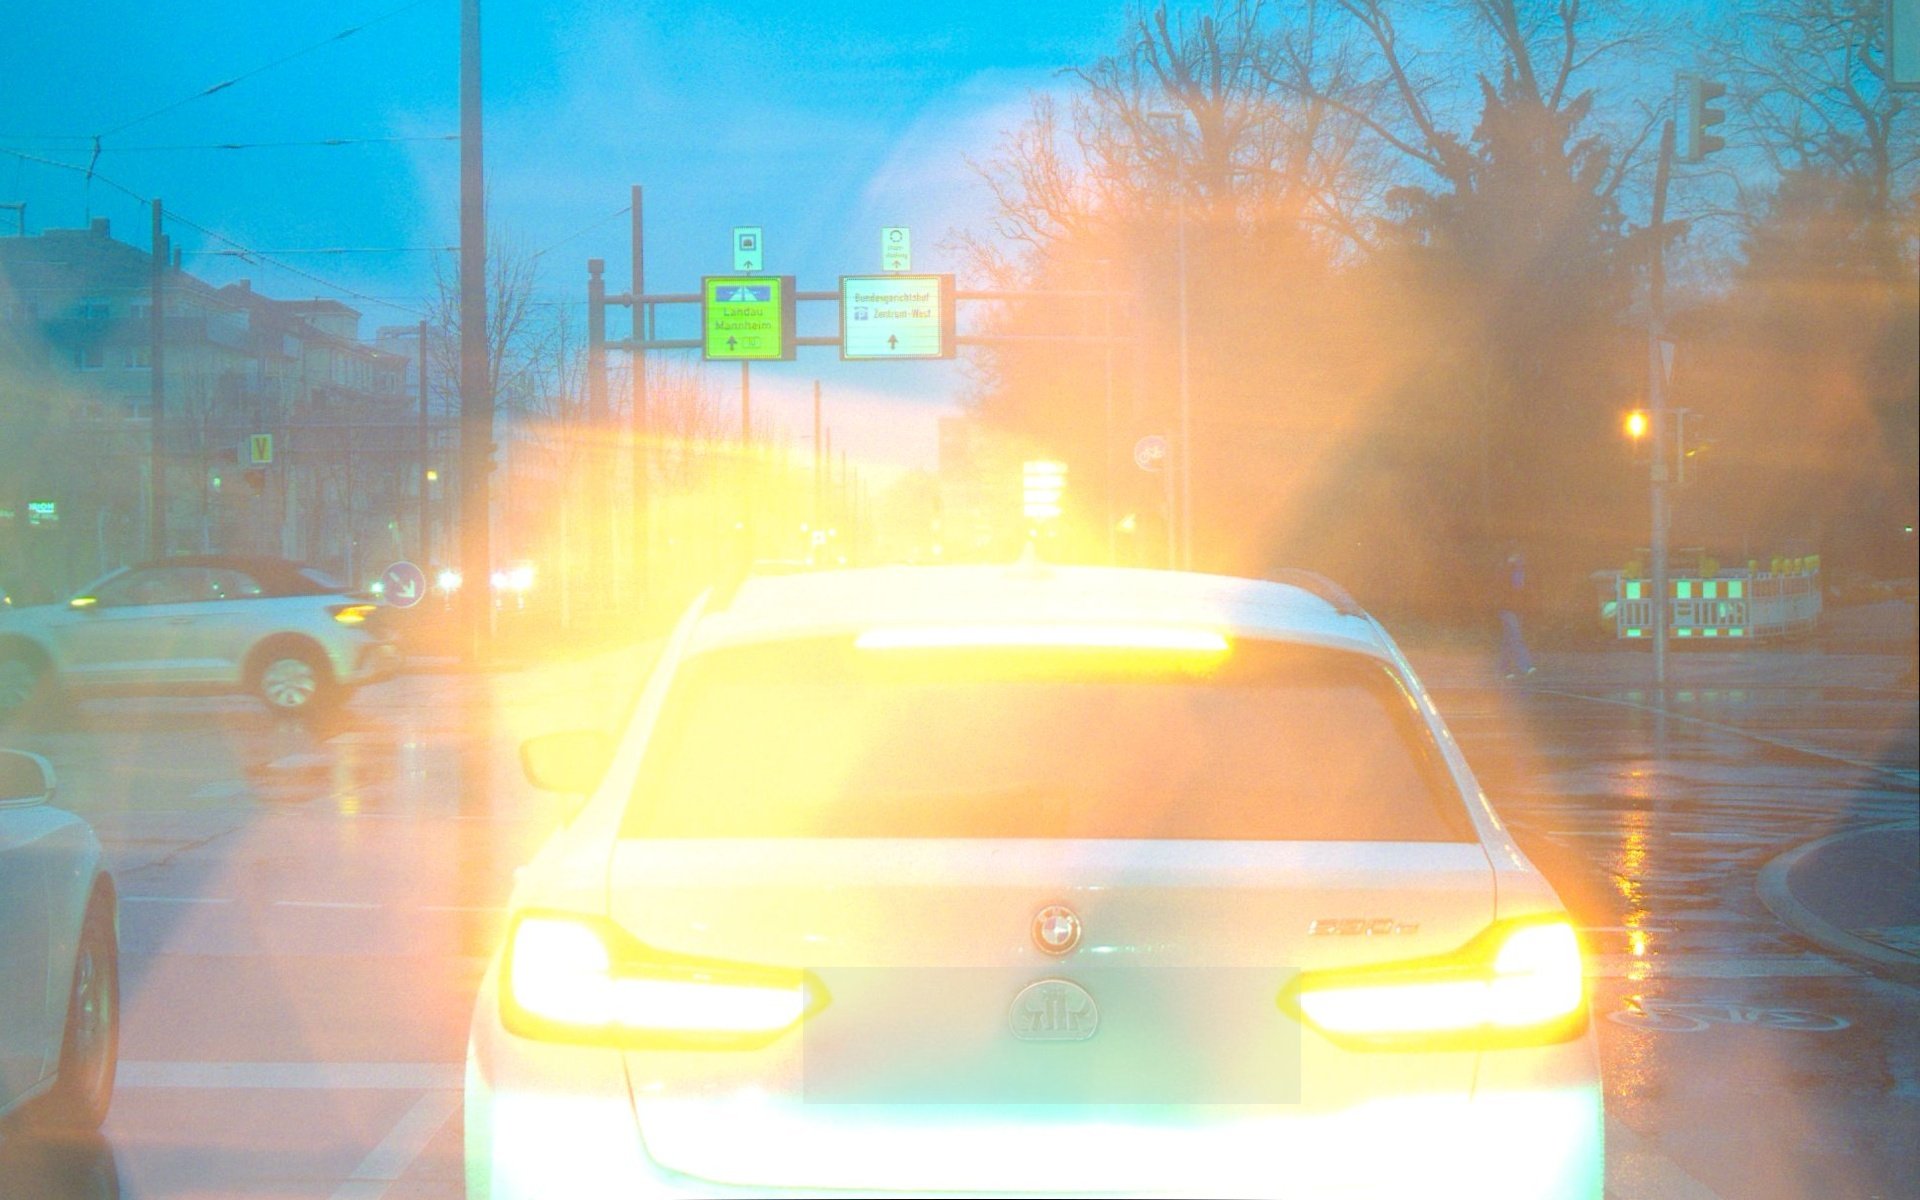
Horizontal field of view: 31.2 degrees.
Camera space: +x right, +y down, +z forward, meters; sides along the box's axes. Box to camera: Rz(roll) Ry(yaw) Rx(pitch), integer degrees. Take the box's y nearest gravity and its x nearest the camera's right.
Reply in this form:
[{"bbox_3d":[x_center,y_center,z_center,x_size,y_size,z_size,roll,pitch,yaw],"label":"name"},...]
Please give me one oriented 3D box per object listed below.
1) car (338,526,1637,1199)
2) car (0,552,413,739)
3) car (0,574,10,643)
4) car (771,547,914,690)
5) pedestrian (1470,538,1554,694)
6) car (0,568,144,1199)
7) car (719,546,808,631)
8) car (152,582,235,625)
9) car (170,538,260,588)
[{"bbox_3d":[-0.060,0.663,6.805,1.759,1.547,4.252,1,1,-3],"label":"car"},{"bbox_3d":[-7.446,0.405,32.879,4.070,1.681,1.959,1,0,2],"label":"car"},{"bbox_3d":[-21.323,0.197,71.045,1.993,1.457,5.095,1,1,-1],"label":"car"},{"bbox_3d":[-1.691,0.243,50.777,1.993,2.007,4.000,1,1,-1],"label":"car"},{"bbox_3d":[6.692,0.188,41.678,0.712,1.873,0.675,1,0,-29],"label":"pedestrian"},{"bbox_3d":[-2.956,0.662,6.977,1.759,1.464,4.252,1,1,-3],"label":"car"},{"bbox_3d":[-4.820,-0.295,84.778,1.993,2.007,4.000,1,1,-1],"label":"car"},{"bbox_3d":[-27.175,0.103,122.064,1.993,1.457,5.095,1,1,-2],"label":"car"},{"bbox_3d":[-22.637,-1.135,104.627,1.993,1.457,5.096,1,1,-4],"label":"car"}]
